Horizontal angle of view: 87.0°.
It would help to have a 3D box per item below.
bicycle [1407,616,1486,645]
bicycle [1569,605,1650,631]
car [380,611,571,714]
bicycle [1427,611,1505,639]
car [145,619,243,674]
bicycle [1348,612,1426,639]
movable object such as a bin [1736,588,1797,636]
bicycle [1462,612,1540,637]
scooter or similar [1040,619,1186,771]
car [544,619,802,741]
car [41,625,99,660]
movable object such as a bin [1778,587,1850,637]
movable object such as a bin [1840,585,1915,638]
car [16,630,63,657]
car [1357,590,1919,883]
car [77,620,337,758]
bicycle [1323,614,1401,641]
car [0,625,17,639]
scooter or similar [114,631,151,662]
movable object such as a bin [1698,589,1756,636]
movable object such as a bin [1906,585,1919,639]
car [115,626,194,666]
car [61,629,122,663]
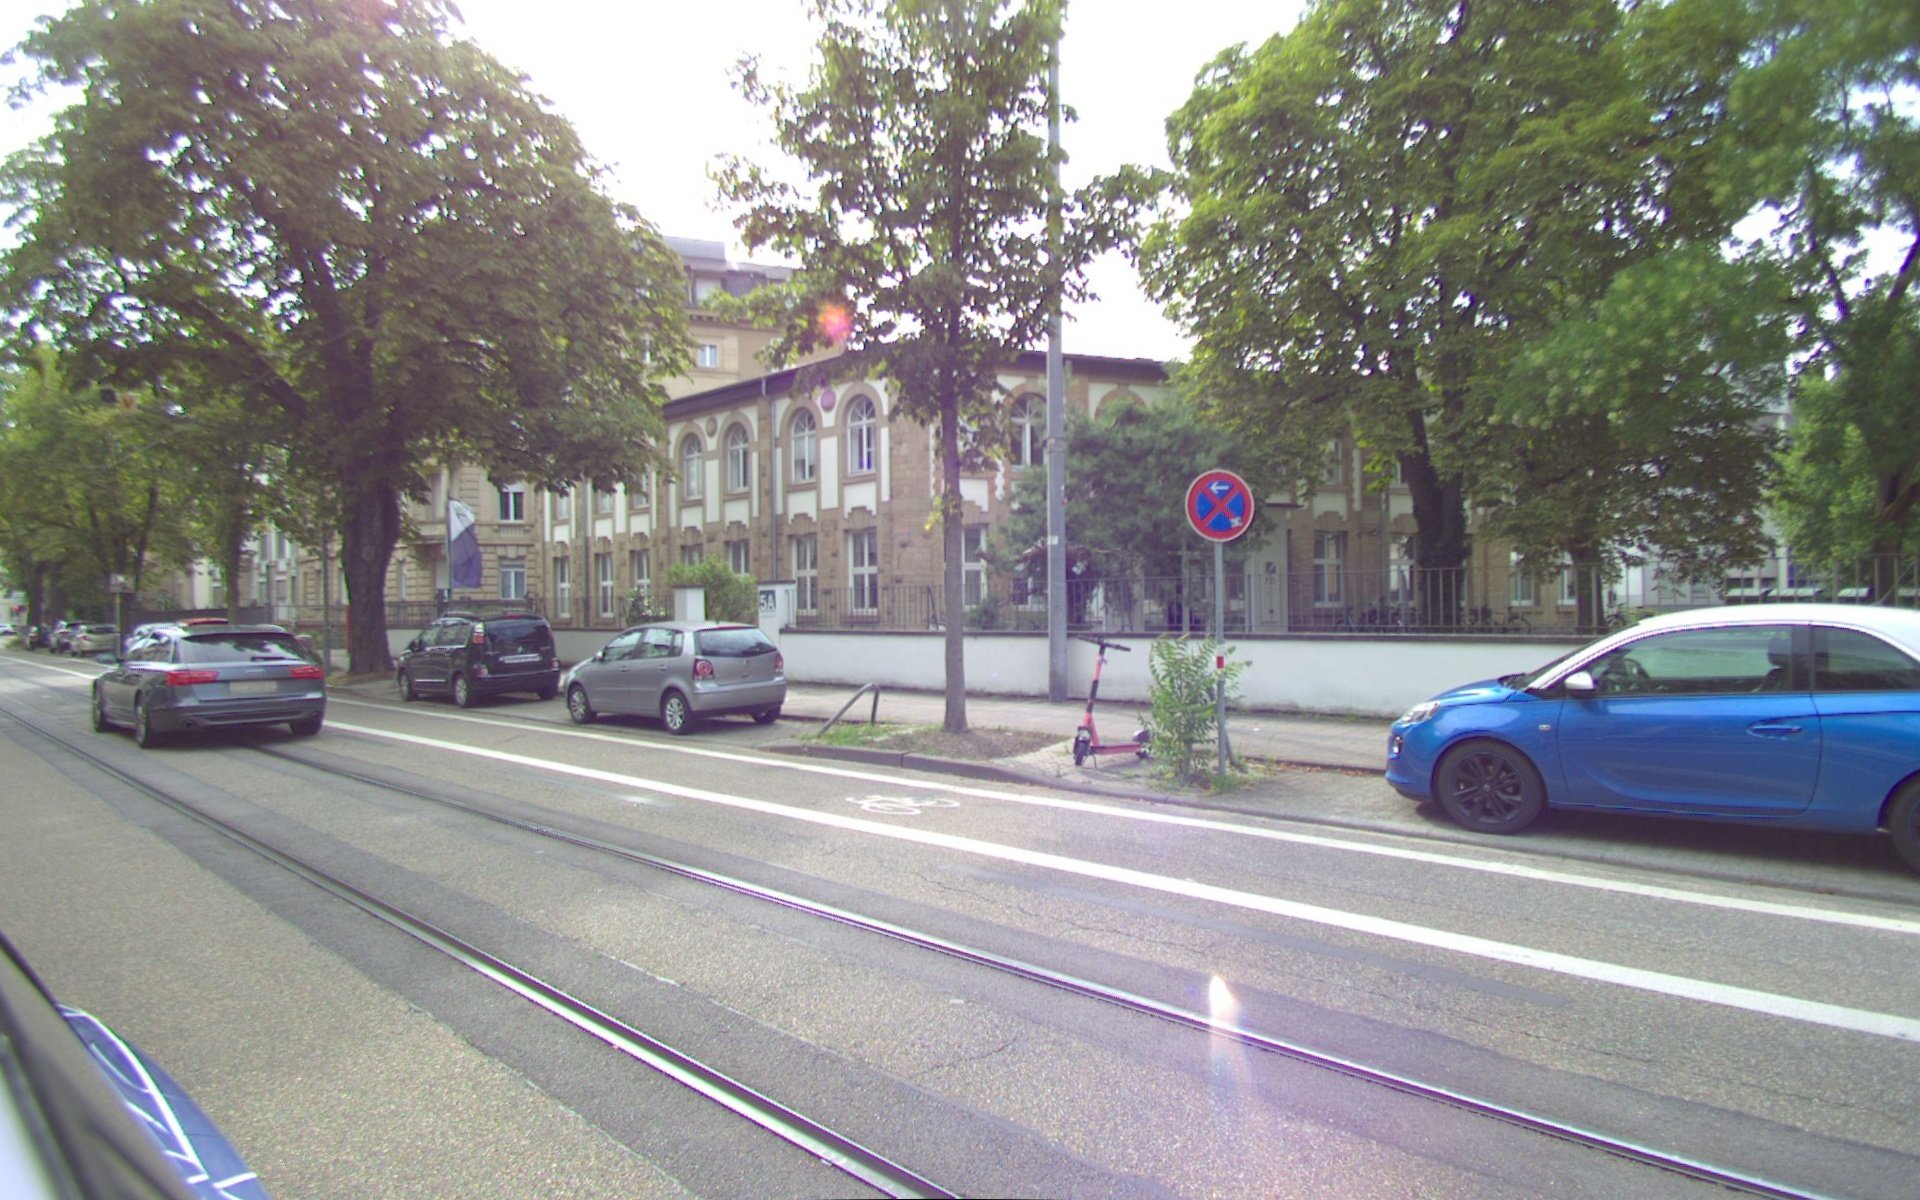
[{"bbox_3d":[14.254,0.887,29.689,0.702,0.779,2.053,-2,0,-28],"label":"bicycle"},{"bbox_3d":[20.599,0.578,32.143,0.702,0.779,2.053,-2,0,-28],"label":"bicycle"},{"bbox_3d":[-9.063,1.082,18.789,4.050,1.659,1.737,-2,0,41],"label":"car"},{"bbox_3d":[15.061,0.747,30.179,0.702,0.779,2.053,-2,0,-28],"label":"bicycle"},{"bbox_3d":[-25.945,1.541,34.233,4.540,1.667,1.704,-2,1,41],"label":"car"},{"bbox_3d":[12.170,0.729,28.885,0.702,0.713,2.053,-2,0,-28],"label":"bicycle"},{"bbox_3d":[23.831,0.351,29.922,0.954,1.385,1.024,-2,0,-22],"label":"movable object such as a bin"},{"bbox_3d":[16.579,0.764,31.051,2.042,0.713,0.706,-2,0,35],"label":"bicycle"},{"bbox_3d":[1.500,0.866,9.794,0.700,1.354,1.427,-2,-2,43],"label":"scooter or similar"},{"bbox_3d":[-4.158,1.037,14.361,3.866,1.438,1.675,-2,0,41],"label":"car"},{"bbox_3d":[-45.711,2.169,51.933,4.355,1.686,1.692,-2,-1,42],"label":"car"},{"bbox_3d":[24.239,0.337,28.739,0.954,1.385,1.208,-2,0,-22],"label":"movable object such as a bin"},{"bbox_3d":[24.829,0.318,27.405,0.846,1.385,1.208,-2,0,-22],"label":"movable object such as a bin"},{"bbox_3d":[-54.523,2.546,59.917,4.166,1.435,1.701,-2,1,44],"label":"car"},{"bbox_3d":[4.744,0.724,6.563,3.675,1.498,1.675,-2,0,41],"label":"car"},{"bbox_3d":[-9.936,1.028,13.211,4.551,1.459,1.815,-2,-1,41],"label":"car"},{"bbox_3d":[11.300,0.756,28.528,0.702,0.713,2.053,-2,0,-28],"label":"bicycle"},{"bbox_3d":[-120.326,4.023,126.051,3.937,1.644,1.681,-1,-1,-7],"label":"car"},{"bbox_3d":[-34.640,1.950,42.367,1.313,1.232,0.559,-1,-1,19],"label":"scooter or similar"},{"bbox_3d":[23.444,0.364,30.945,0.954,1.385,1.024,-2,0,-22],"label":"movable object such as a bin"},{"bbox_3d":[25.256,0.303,26.013,0.846,1.385,1.097,-2,0,-22],"label":"movable object such as a bin"},{"bbox_3d":[-32.115,1.793,40.312,4.021,1.434,1.704,-2,1,41],"label":"car"},{"bbox_3d":[-40.186,2.096,46.804,4.077,1.479,1.584,-2,-1,42],"label":"car"}]
